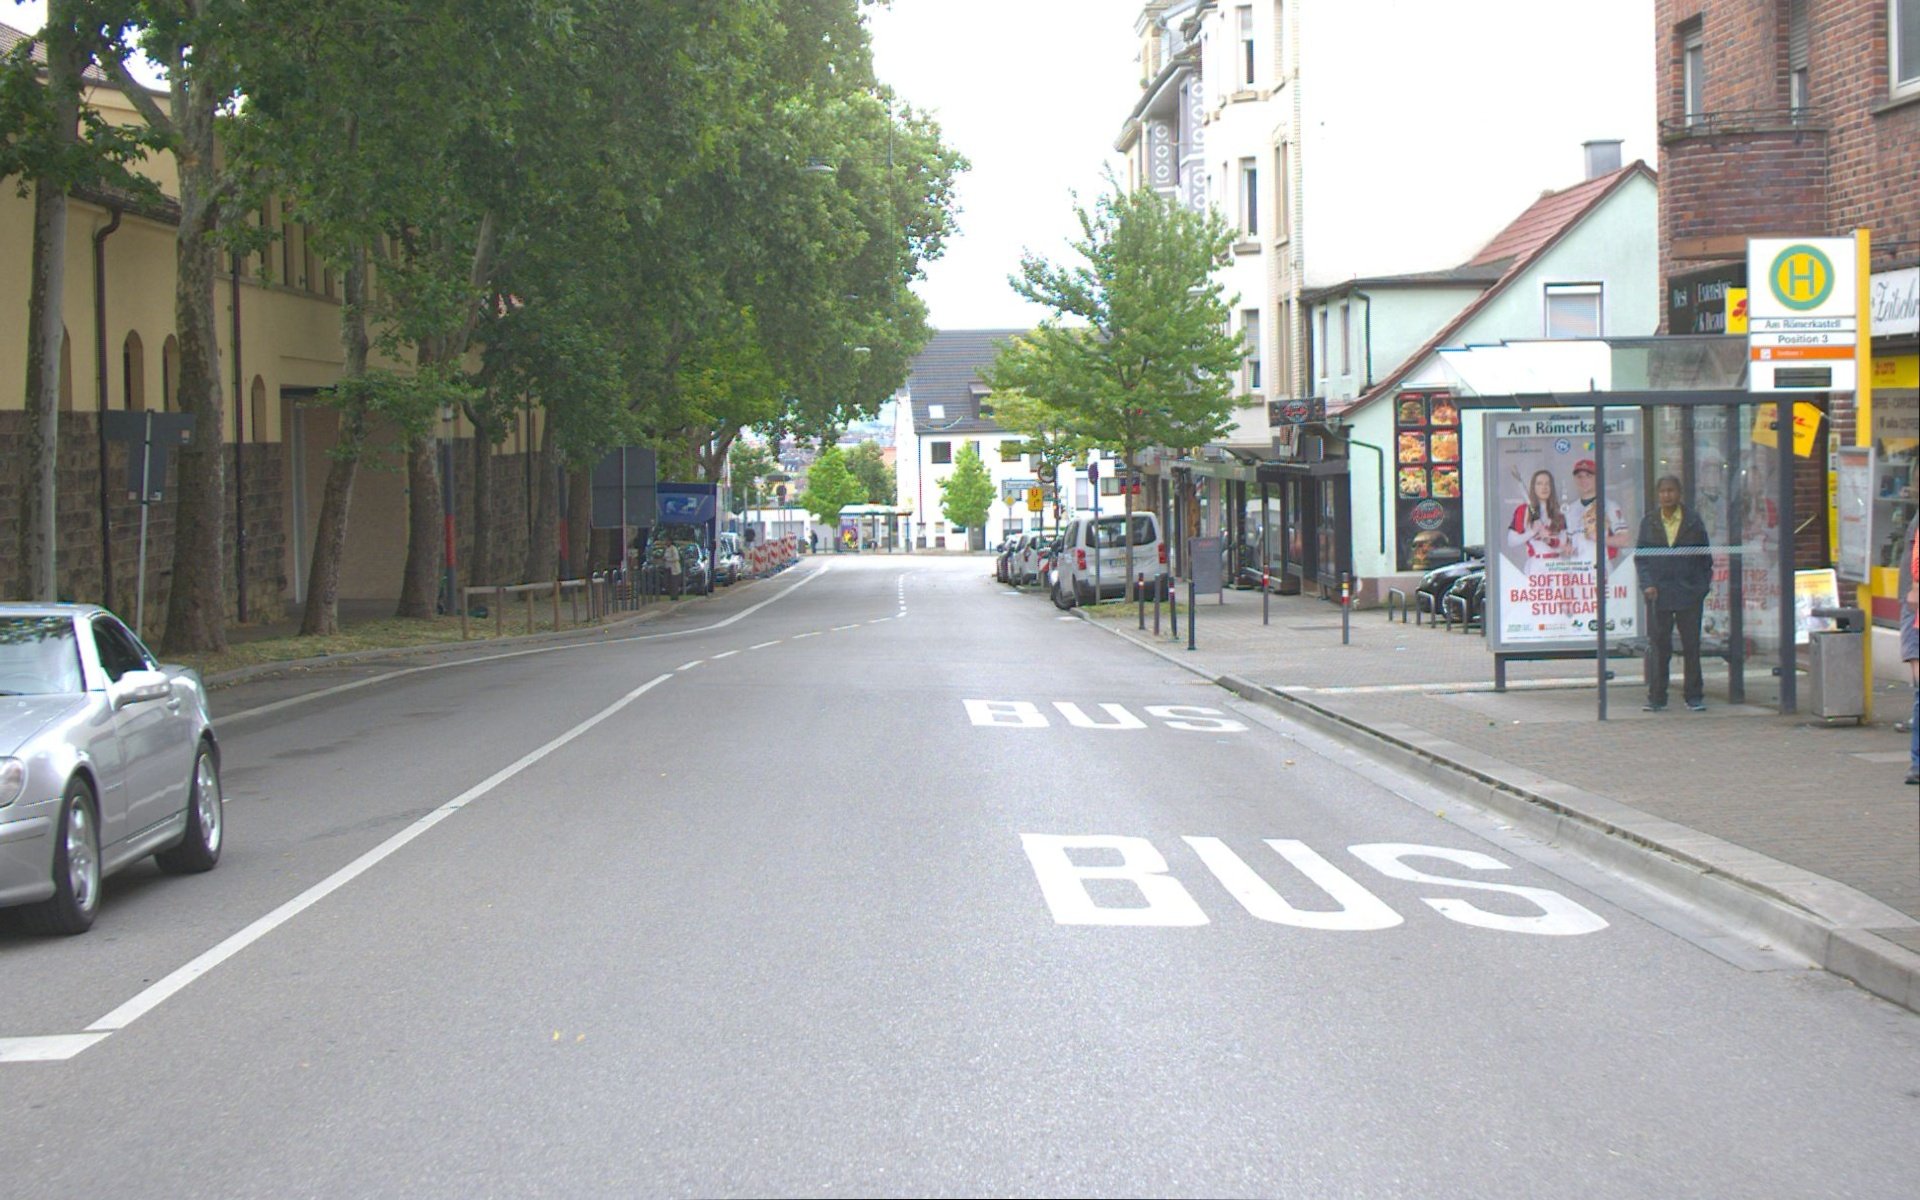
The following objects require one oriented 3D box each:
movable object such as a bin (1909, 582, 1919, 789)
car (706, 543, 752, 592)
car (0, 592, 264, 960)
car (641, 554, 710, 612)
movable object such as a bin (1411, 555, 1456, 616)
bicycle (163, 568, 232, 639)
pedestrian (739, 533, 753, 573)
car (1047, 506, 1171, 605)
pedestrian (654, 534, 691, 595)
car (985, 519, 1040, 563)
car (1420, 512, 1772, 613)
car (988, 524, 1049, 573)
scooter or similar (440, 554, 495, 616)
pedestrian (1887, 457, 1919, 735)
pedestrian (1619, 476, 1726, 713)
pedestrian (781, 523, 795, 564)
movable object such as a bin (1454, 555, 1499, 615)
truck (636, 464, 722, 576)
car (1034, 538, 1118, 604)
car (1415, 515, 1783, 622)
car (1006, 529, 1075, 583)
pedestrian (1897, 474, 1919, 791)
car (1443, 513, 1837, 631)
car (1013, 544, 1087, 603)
[{"bbox_3d":[5.128,0.434,17.663,0.453,1.053,0.410,0,1,19],"label":"movable object such as a bin"},{"bbox_3d":[-7.905,-1.136,117.926,1.533,1.633,3.719,-1,1,-4],"label":"car"},{"bbox_3d":[-4.198,0.666,14.203,1.685,1.271,4.095,-3,0,1],"label":"car"},{"bbox_3d":[-8.007,-0.492,96.975,1.834,1.572,3.757,-1,1,-4],"label":"car"},{"bbox_3d":[8.265,-0.256,60.061,0.698,1.038,0.645,-1,1,1],"label":"movable object such as a bin"},{"bbox_3d":[-12.377,0.052,55.854,0.596,1.087,2.195,2,1,1],"label":"bicycle"},{"bbox_3d":[-10.976,-2.411,176.119,0.633,1.988,0.784,-1,1,1],"label":"pedestrian"},{"bbox_3d":[3.004,-0.937,70.275,1.993,1.929,4.920,-1,1,-4],"label":"car"},{"bbox_3d":[-7.244,-0.897,86.641,0.673,1.531,0.611,-1,1,-39],"label":"pedestrian"},{"bbox_3d":[1.890,-2.130,123.908,1.668,1.542,3.757,-1,1,-4],"label":"car"},{"bbox_3d":[9.623,-0.564,52.081,4.909,1.464,1.927,0,1,26],"label":"car"},{"bbox_3d":[1.869,-1.690,111.175,1.668,1.542,3.757,-1,1,-4],"label":"car"},{"bbox_3d":[-9.614,-0.291,67.127,1.028,1.180,0.491,-1,1,-10],"label":"scooter or similar"},{"bbox_3d":[6.251,-0.032,22.013,0.479,1.759,0.458,-1,1,-1],"label":"pedestrian"},{"bbox_3d":[5.261,-0.046,25.413,0.670,1.721,0.763,-1,1,4],"label":"pedestrian"},{"bbox_3d":[-8.481,-2.791,169.730,0.633,2.007,0.784,-1,1,1],"label":"pedestrian"},{"bbox_3d":[9.030,-0.267,60.132,0.698,1.038,0.645,-1,1,1],"label":"movable object such as a bin"},{"bbox_3d":[-8.640,-2.465,106.277,2.230,3.335,7.450,-1,1,-2],"label":"truck"},{"bbox_3d":[2.794,-0.725,83.672,1.668,1.542,3.757,-1,1,-4],"label":"car"},{"bbox_3d":[9.220,-0.457,49.646,4.909,1.488,1.853,0,1,24],"label":"car"},{"bbox_3d":[2.318,-1.293,100.126,1.668,1.542,3.757,-1,1,-4],"label":"car"},{"bbox_3d":[5.219,0.159,17.975,0.565,1.631,0.680,0,1,19],"label":"pedestrian"},{"bbox_3d":[9.273,-0.387,46.942,4.910,1.535,1.997,0,1,28],"label":"car"},{"bbox_3d":[2.423,-0.741,93.525,1.668,1.542,3.757,-1,1,-4],"label":"car"}]
